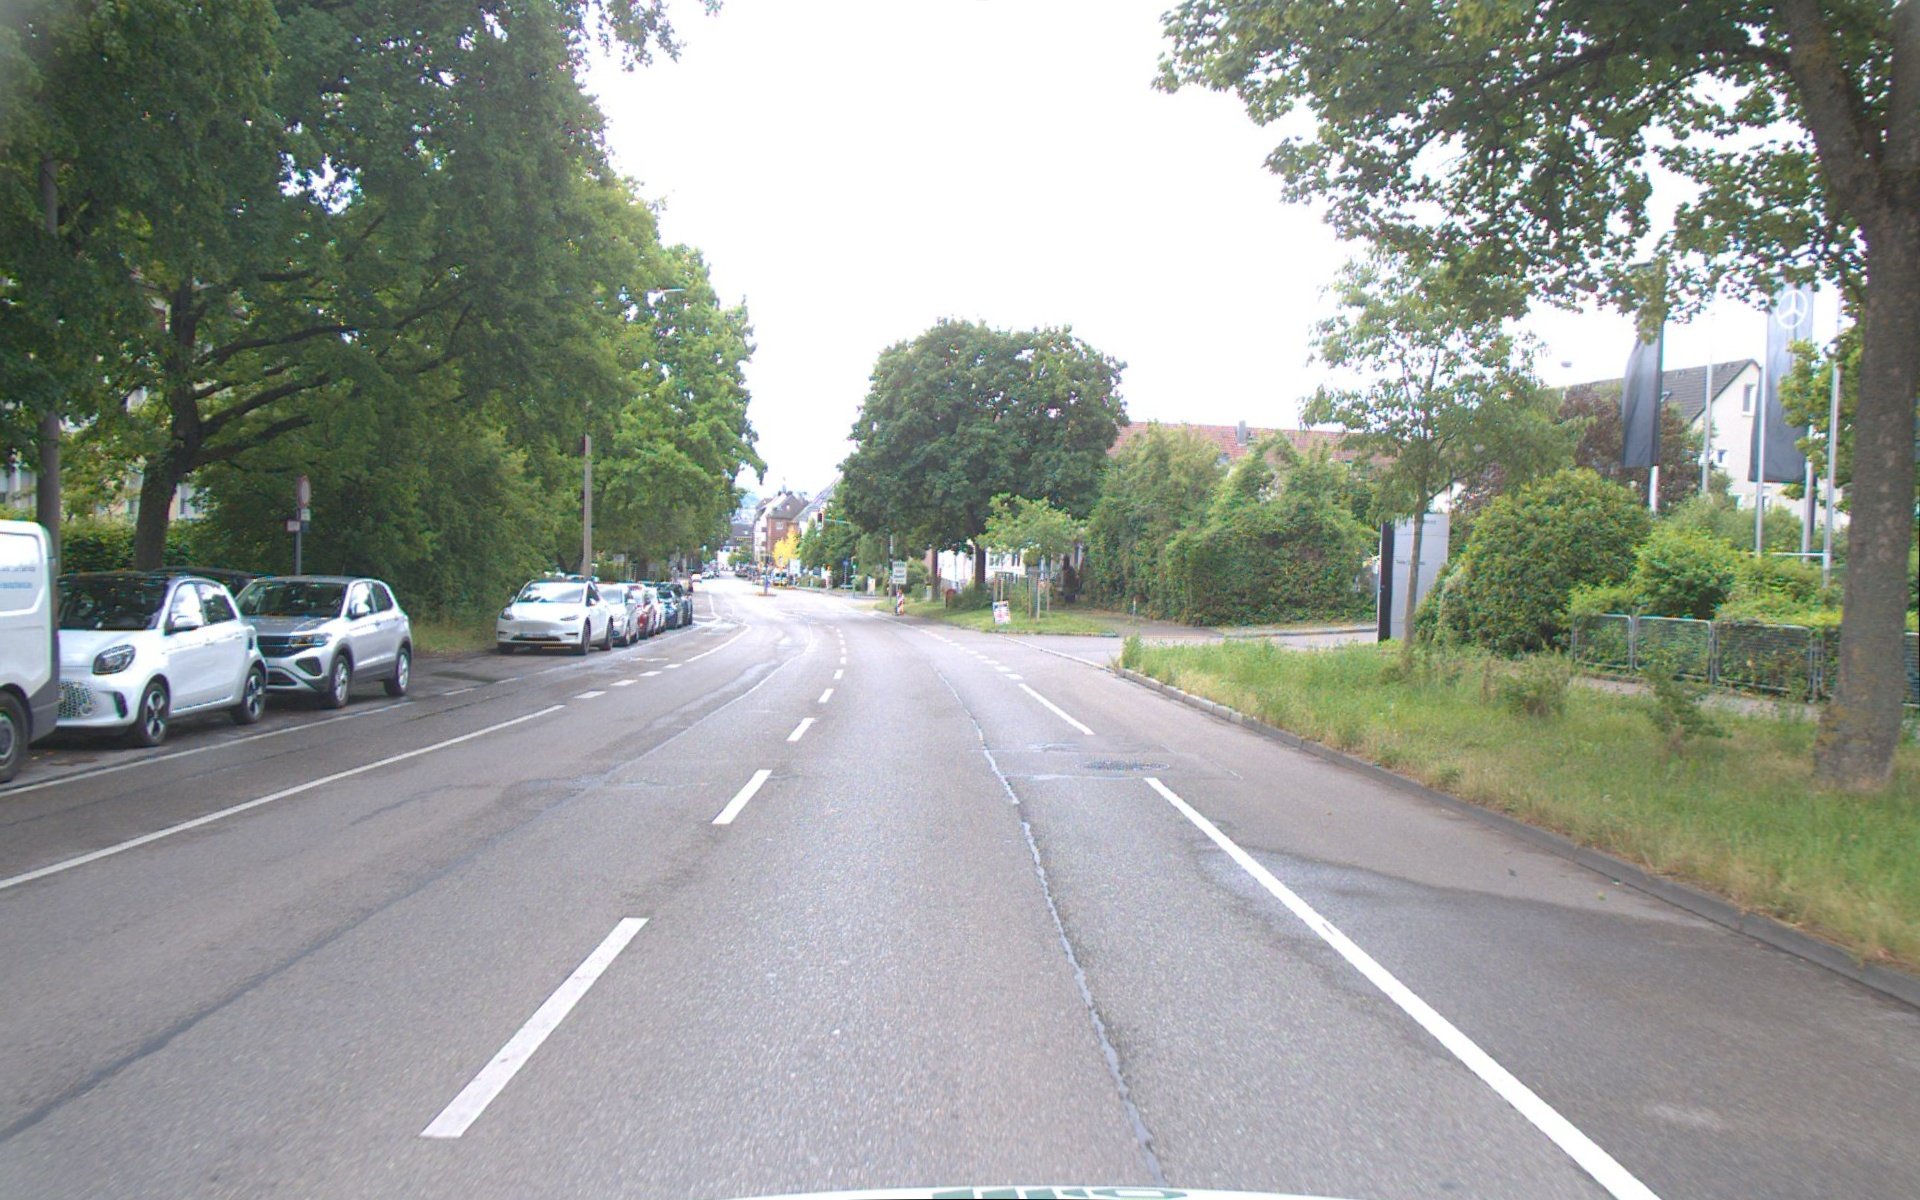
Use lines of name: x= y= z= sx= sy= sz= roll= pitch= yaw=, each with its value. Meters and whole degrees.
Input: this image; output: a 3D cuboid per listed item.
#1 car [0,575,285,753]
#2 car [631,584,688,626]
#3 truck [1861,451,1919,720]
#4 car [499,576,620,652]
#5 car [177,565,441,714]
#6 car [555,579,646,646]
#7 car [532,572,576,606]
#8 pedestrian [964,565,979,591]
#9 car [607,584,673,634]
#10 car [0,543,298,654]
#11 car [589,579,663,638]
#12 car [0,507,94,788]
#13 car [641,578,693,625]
car: x=-8.034 y=0.535 z=16.098 sx=1.550 sy=1.507 sz=3.717 roll=1 pitch=0 yaw=-3
car: x=-10.760 y=0.160 z=59.520 sx=1.682 sy=1.413 sz=4.332 roll=1 pitch=0 yaw=-6
truck: x=15.972 y=-0.145 z=22.750 sx=7.072 sy=3.538 sz=2.599 roll=1 pitch=1 yaw=-25
car: x=-8.993 y=0.307 z=37.525 sx=1.731 sy=1.600 sz=4.758 roll=0 pitch=0 yaw=-2
car: x=-8.062 y=0.434 z=20.913 sx=1.730 sy=1.662 sz=4.157 roll=1 pitch=0 yaw=-1
car: x=-9.282 y=0.298 z=42.944 sx=1.832 sy=1.600 sz=4.114 roll=2 pitch=0 yaw=-6
car: x=-21.106 y=-0.583 z=86.071 sx=1.728 sy=1.661 sz=4.281 roll=2 pitch=0 yaw=-8
pedestrian: x=0.786 y=-1.568 z=117.914 sx=0.738 sy=1.887 sz=0.948 roll=-2 pitch=1 yaw=-23
car: x=-10.337 y=0.271 z=53.661 sx=1.682 sy=1.485 sz=4.750 roll=2 pitch=0 yaw=-6
car: x=-14.317 y=-0.026 z=29.226 sx=4.342 sy=1.479 sz=1.887 roll=6 pitch=0 yaw=1
car: x=-9.757 y=0.237 z=48.536 sx=1.682 sy=1.600 sz=4.365 roll=2 pitch=0 yaw=-6
car: x=-7.695 y=0.334 z=10.435 sx=1.828 sy=1.998 sz=5.125 roll=1 pitch=0 yaw=-1
car: x=-11.494 y=0.025 z=65.081 sx=1.682 sy=1.641 sz=4.529 roll=2 pitch=1 yaw=-6
